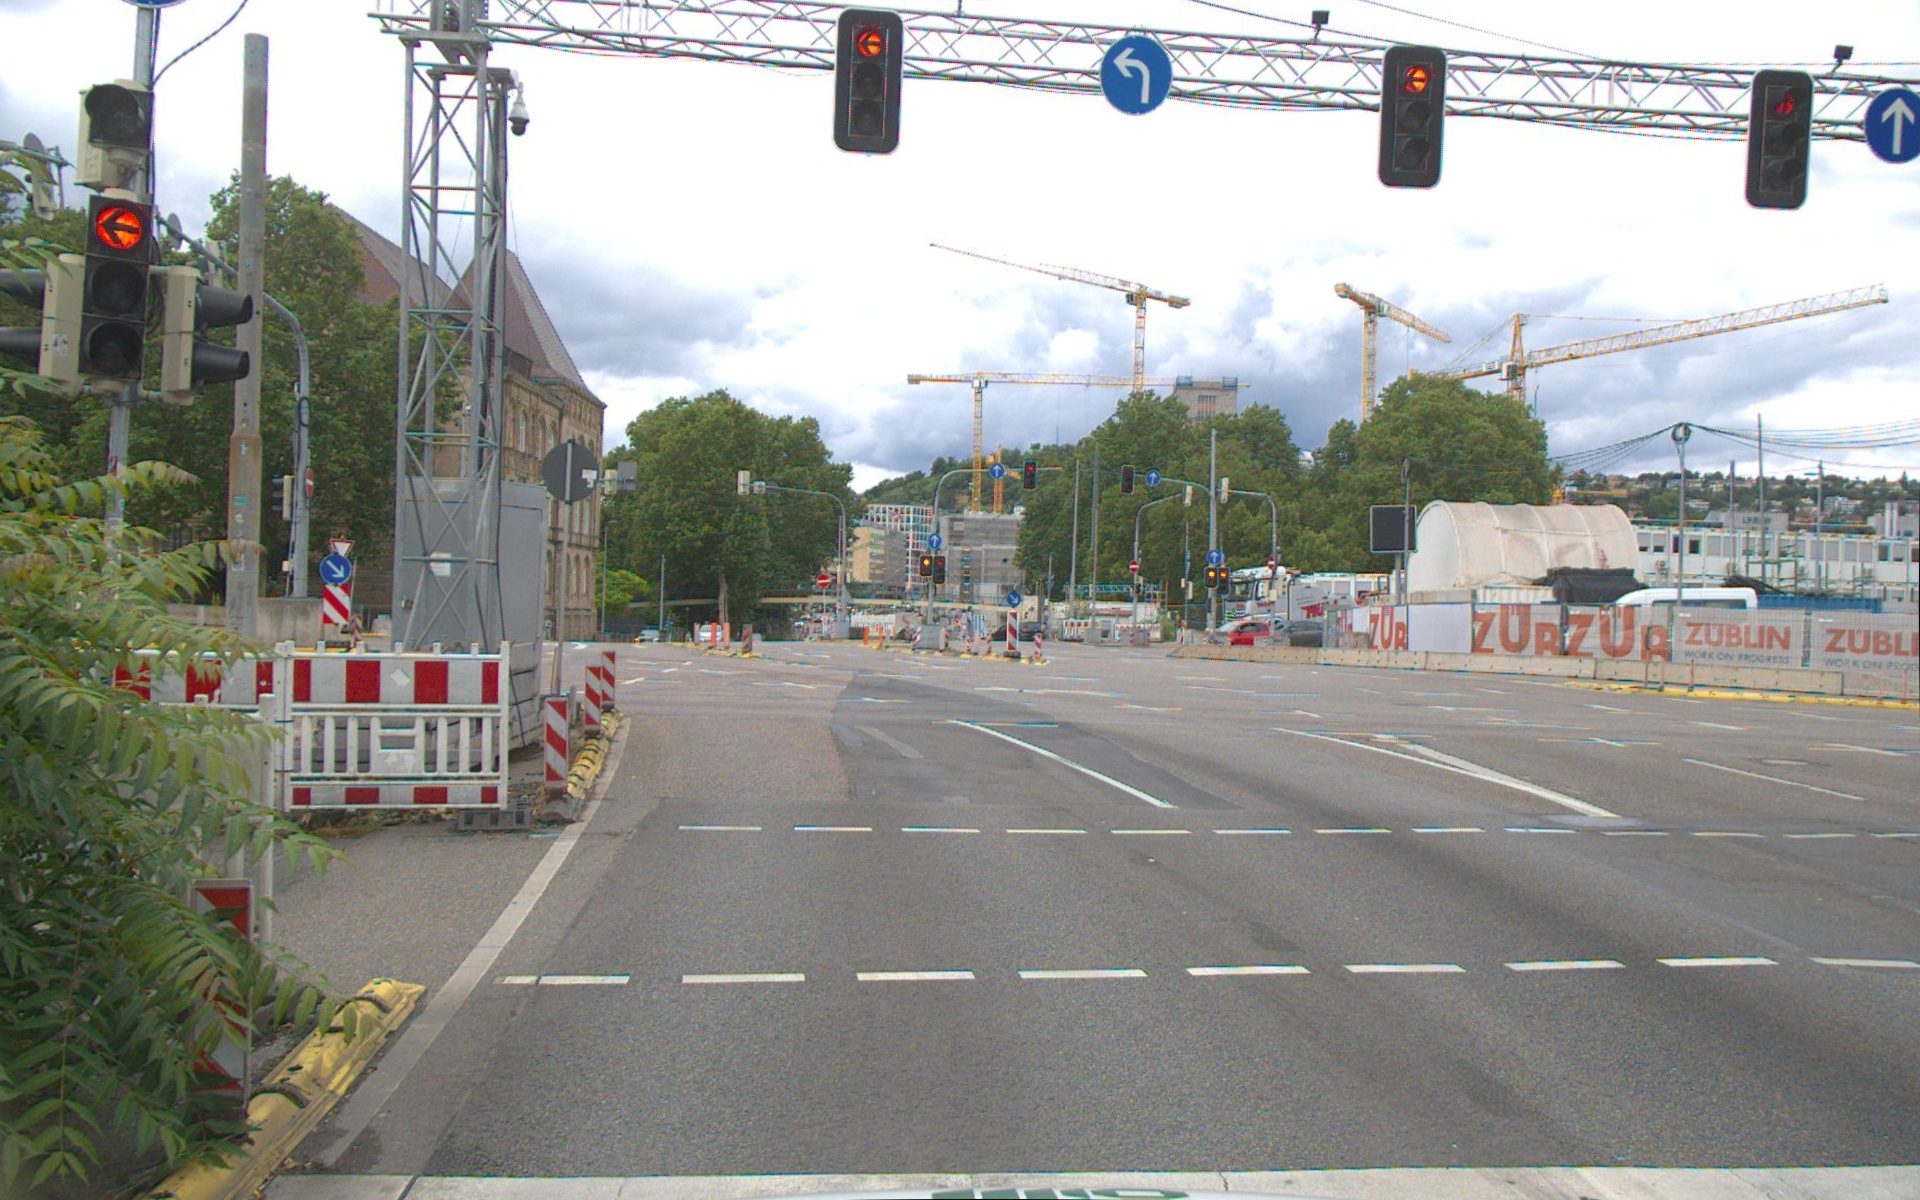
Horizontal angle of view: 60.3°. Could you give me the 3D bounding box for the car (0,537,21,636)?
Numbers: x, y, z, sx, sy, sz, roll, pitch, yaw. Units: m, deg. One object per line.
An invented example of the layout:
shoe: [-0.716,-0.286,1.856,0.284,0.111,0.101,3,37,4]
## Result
car: [-19.490,-0.284,29.372,4.408,1.790,1.995,1,0,-10]

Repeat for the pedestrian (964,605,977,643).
pedestrian: [0.499,1.187,81.938,0.574,1.872,0.604,1,-1,-4]

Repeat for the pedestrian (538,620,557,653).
pedestrian: [-26.103,2.319,104.655,0.930,2.049,0.766,1,-1,1]

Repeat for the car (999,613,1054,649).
car: [3.970,1.846,99.509,1.963,2.049,3.978,1,0,-19]

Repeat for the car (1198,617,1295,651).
car: [12.377,1.473,71.499,3.755,1.410,1.792,1,0,-23]

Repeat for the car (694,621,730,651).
car: [-16.319,2.382,108.996,1.954,1.870,3.997,1,0,-3]

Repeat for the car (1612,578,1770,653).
car: [21.056,0.446,47.811,3.902,2.049,2.001,1,0,15]

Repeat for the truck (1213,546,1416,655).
truck: [17.268,0.058,80.554,9.577,5.047,3.093,1,0,-22]

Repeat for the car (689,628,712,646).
car: [-27.298,3.885,173.992,1.954,1.870,3.997,1,0,-3]

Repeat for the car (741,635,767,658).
car: [-17.977,4.083,144.326,1.954,1.870,3.997,1,0,-3]

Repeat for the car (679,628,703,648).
car: [-27.264,3.859,167.458,1.954,1.870,3.997,1,0,-3]

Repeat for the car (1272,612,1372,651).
car: [16.637,1.447,76.050,4.104,1.731,1.955,1,0,-20]
